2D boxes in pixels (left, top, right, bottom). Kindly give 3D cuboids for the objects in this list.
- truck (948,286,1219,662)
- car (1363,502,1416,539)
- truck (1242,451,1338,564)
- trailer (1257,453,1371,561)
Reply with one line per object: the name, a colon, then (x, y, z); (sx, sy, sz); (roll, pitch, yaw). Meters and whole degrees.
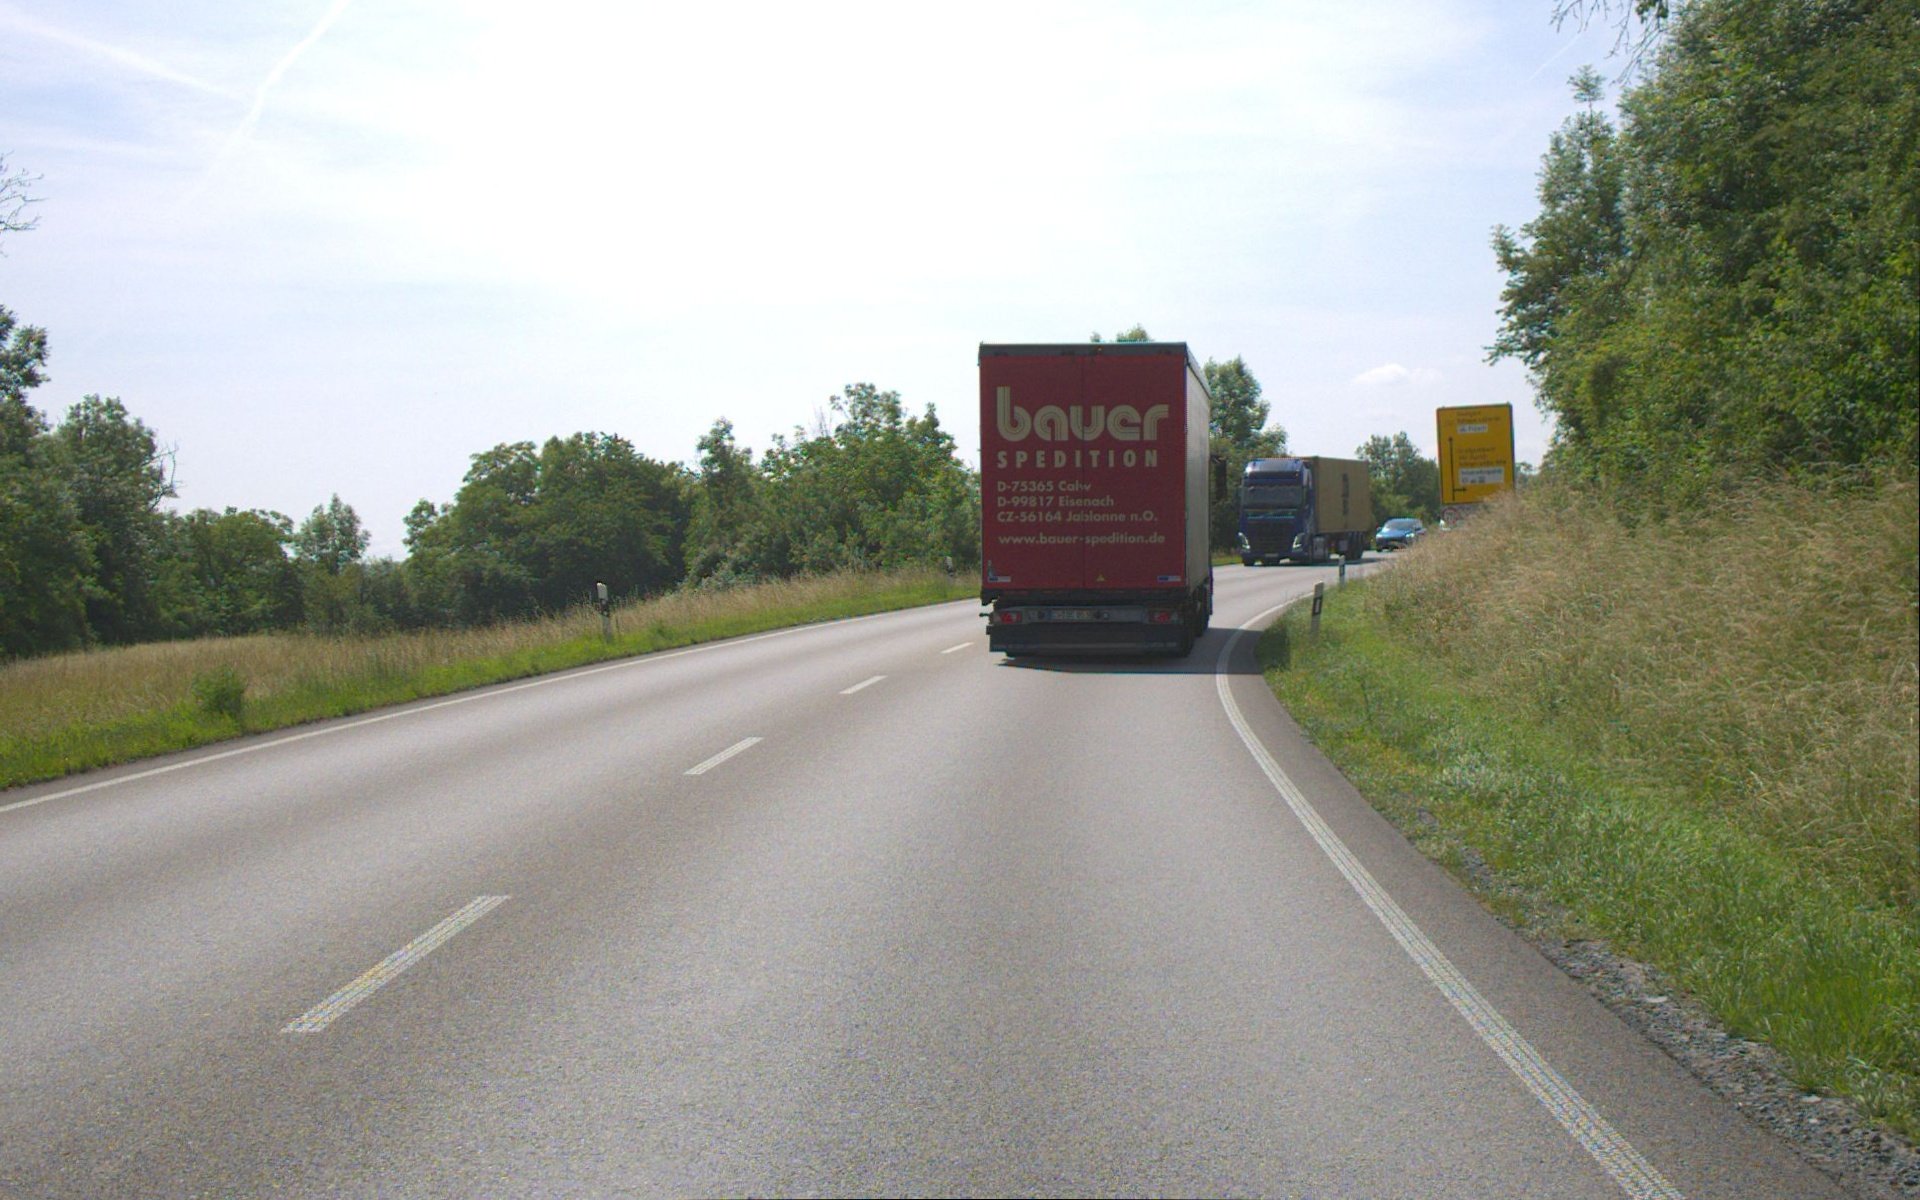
truck: (1.939, -1.684, 47.654); (3.113, 4.490, 12.166); (1, 2, 5)
car: (19.433, -3.613, 155.559); (1.864, 1.480, 4.357); (-4, 1, 13)
truck: (12.347, -3.456, 128.136); (2.808, 4.053, 5.982); (-1, 1, 12)
trailer: (14.142, -3.607, 136.257); (2.998, 4.029, 12.910); (0, 1, 12)
